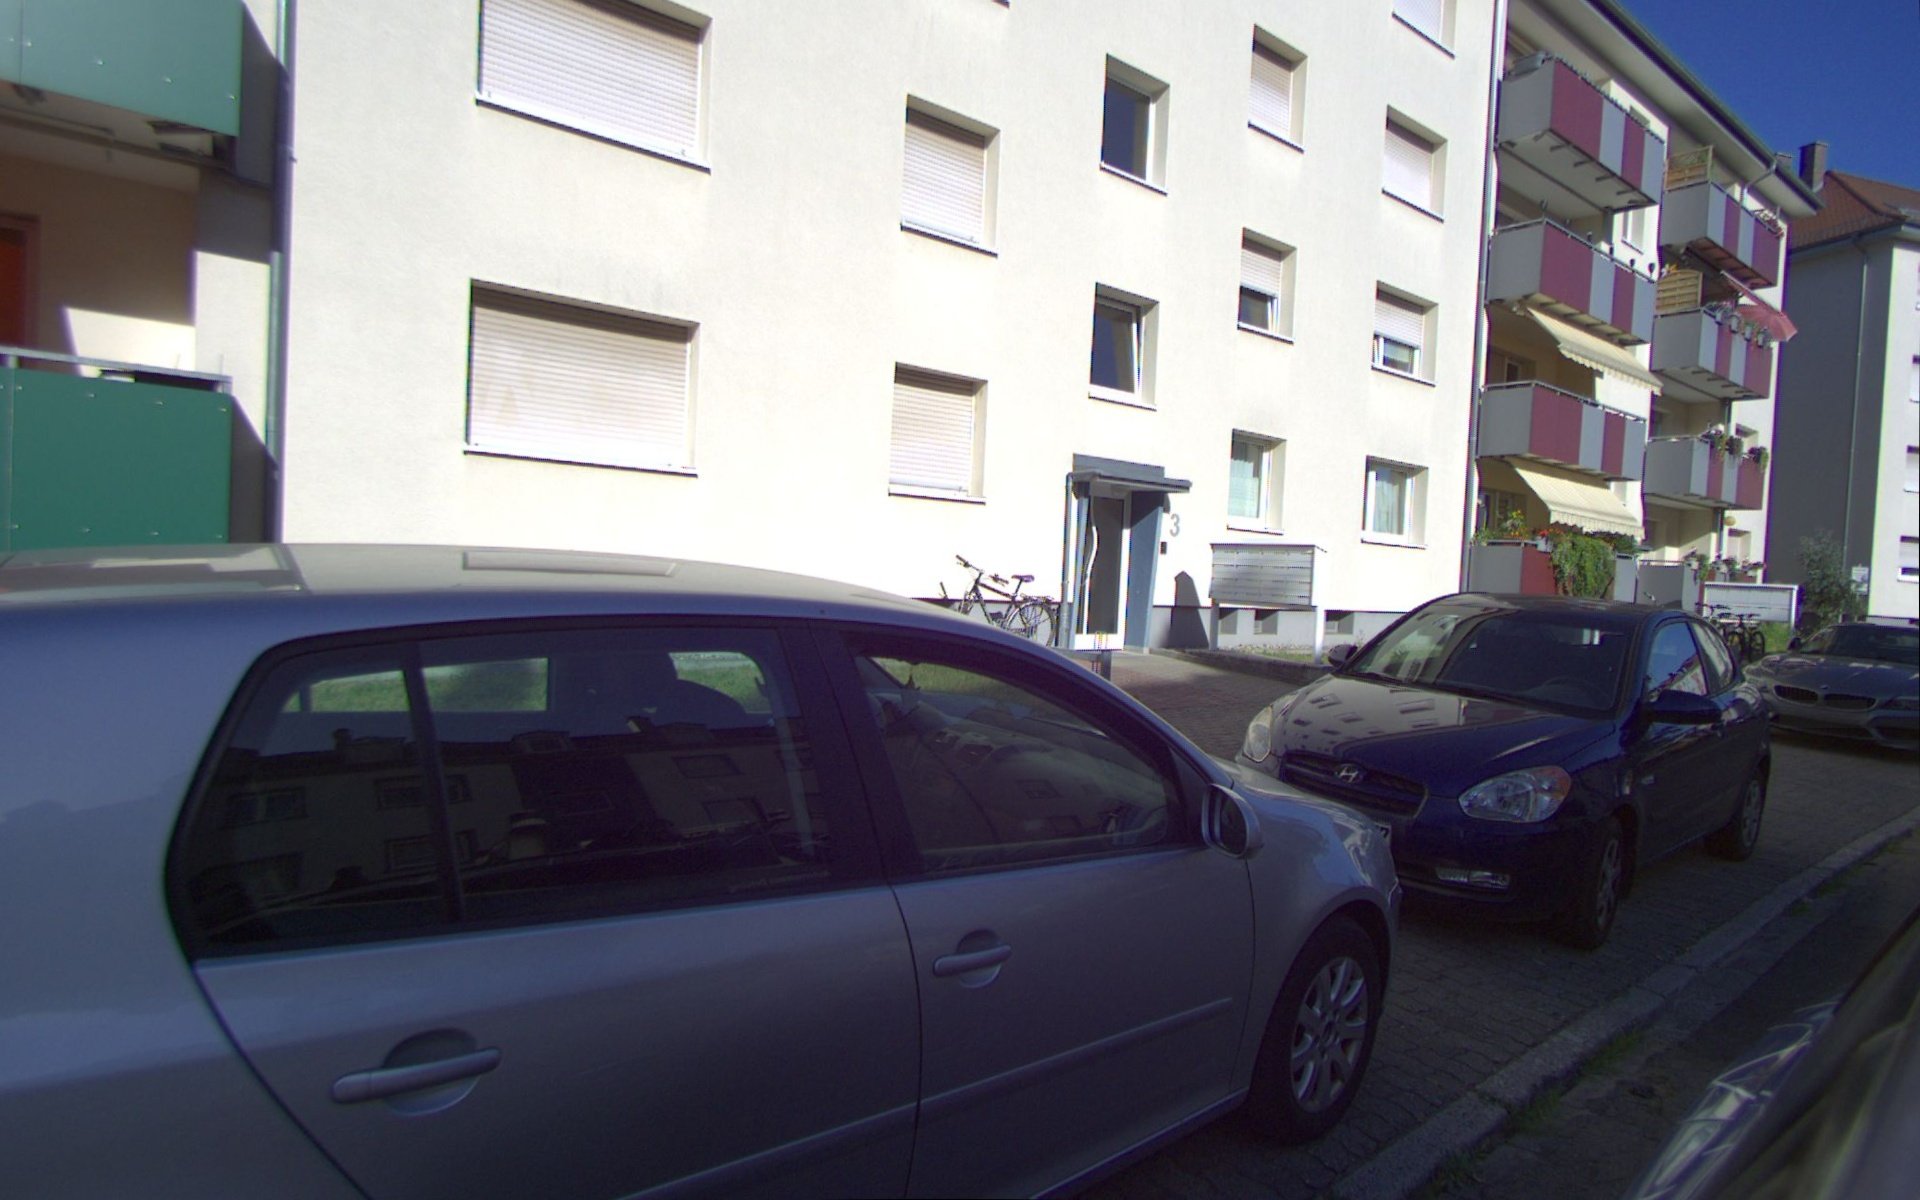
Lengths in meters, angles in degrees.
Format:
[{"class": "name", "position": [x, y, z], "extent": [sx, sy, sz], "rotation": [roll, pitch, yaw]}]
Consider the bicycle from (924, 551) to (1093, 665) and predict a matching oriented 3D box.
[{"class": "bicycle", "position": [0.546, 0.099, 10.934], "extent": [1.701, 1.080, 0.652], "rotation": [2, 7, -38]}]

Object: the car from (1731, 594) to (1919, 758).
[{"class": "car", "position": [10.362, 0.747, 11.173], "extent": [4.159, 1.379, 1.692], "rotation": [1, 6, -36]}]

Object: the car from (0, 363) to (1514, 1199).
[{"class": "car", "position": [-0.315, 0.514, 2.620], "extent": [3.942, 1.606, 1.686], "rotation": [0, 5, -41]}]

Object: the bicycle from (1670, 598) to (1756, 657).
[{"class": "bicycle", "position": [14.362, 0.540, 19.291], "extent": [1.859, 0.989, 0.620], "rotation": [3, 5, -34]}]

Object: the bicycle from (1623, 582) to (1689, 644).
[{"class": "bicycle", "position": [13.769, 0.255, 20.006], "extent": [1.728, 1.164, 0.409], "rotation": [1, 5, -35]}]

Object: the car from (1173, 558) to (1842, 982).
[{"class": "car", "position": [3.315, 0.607, 5.744], "extent": [4.278, 1.448, 1.743], "rotation": [0, 6, -39]}]

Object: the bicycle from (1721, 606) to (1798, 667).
[{"class": "bicycle", "position": [14.700, 0.661, 18.589], "extent": [1.806, 1.031, 0.500], "rotation": [1, 5, -34]}]
